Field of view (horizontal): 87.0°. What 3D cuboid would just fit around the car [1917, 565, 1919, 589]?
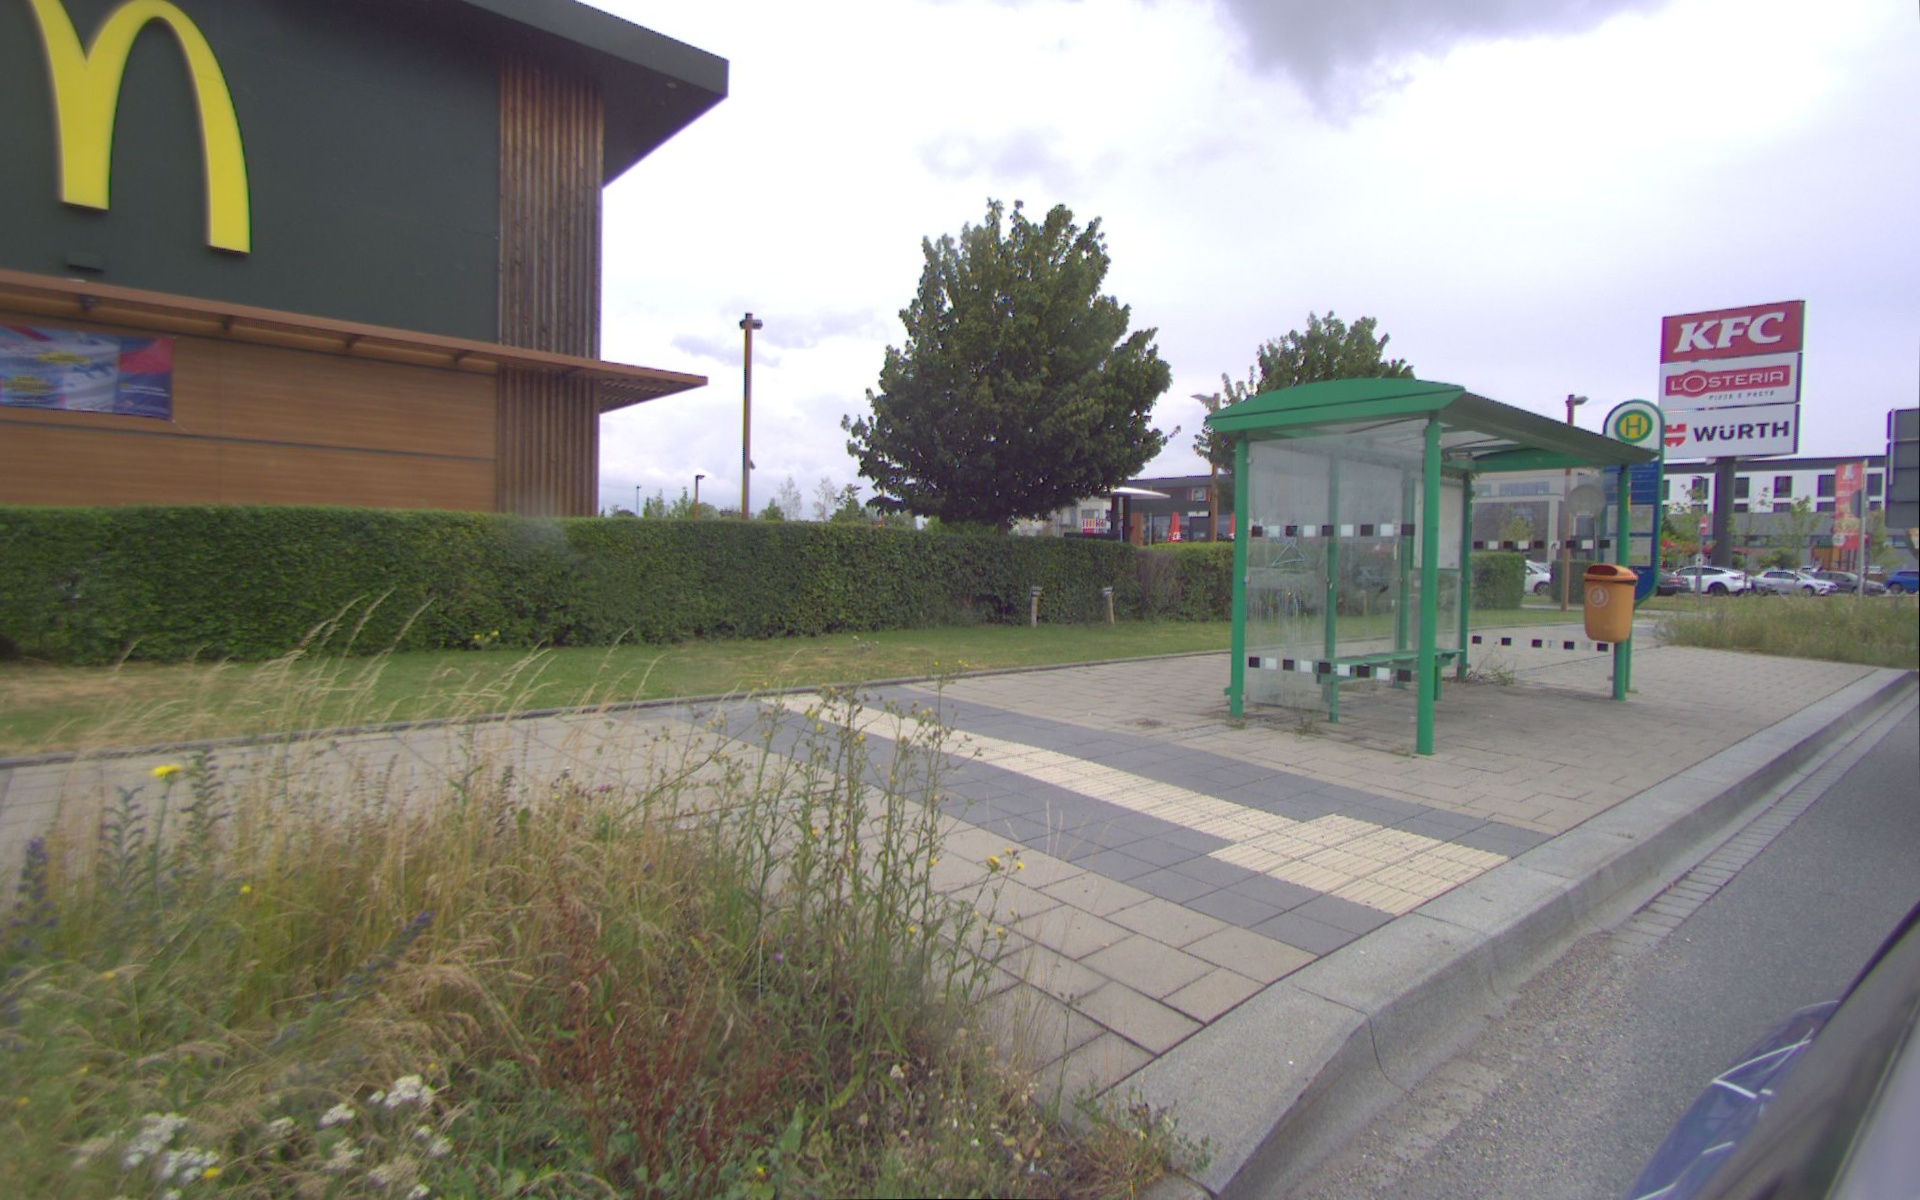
[{"bbox_3d":[63.970,-1.487,64.476,1.809,1.504,4.008,-2,2,-24],"label":"car"}]

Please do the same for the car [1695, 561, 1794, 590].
[{"bbox_3d":[43.813,-1.393,56.610,1.811,1.504,4.003,-1,3,-33],"label":"car"}]

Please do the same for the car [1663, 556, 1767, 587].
[{"bbox_3d":[39.784,-1.507,53.388,1.811,1.541,4.003,-1,3,-33],"label":"car"}]

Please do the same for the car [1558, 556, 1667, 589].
[{"bbox_3d":[31.390,-1.349,48.803,1.811,1.504,4.003,-1,3,-33],"label":"car"}]

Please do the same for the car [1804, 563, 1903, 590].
[{"bbox_3d":[52.822,-1.406,59.925,1.810,1.504,4.006,0,2,-28],"label":"car"}]

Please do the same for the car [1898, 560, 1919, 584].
[{"bbox_3d":[61.668,-1.763,63.313,1.809,1.504,4.008,-2,2,-24],"label":"car"}]

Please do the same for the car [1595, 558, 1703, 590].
[{"bbox_3d":[33.891,-1.291,49.885,1.811,1.504,4.003,-1,3,-33],"label":"car"}]

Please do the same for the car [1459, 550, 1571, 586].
[{"bbox_3d":[24.747,-1.456,45.251,1.815,1.546,3.996,-1,3,-40],"label":"car"}]

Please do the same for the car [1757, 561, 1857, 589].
[{"bbox_3d":[48.473,-1.445,58.007,1.810,1.504,4.006,0,2,-28],"label":"car"}]
